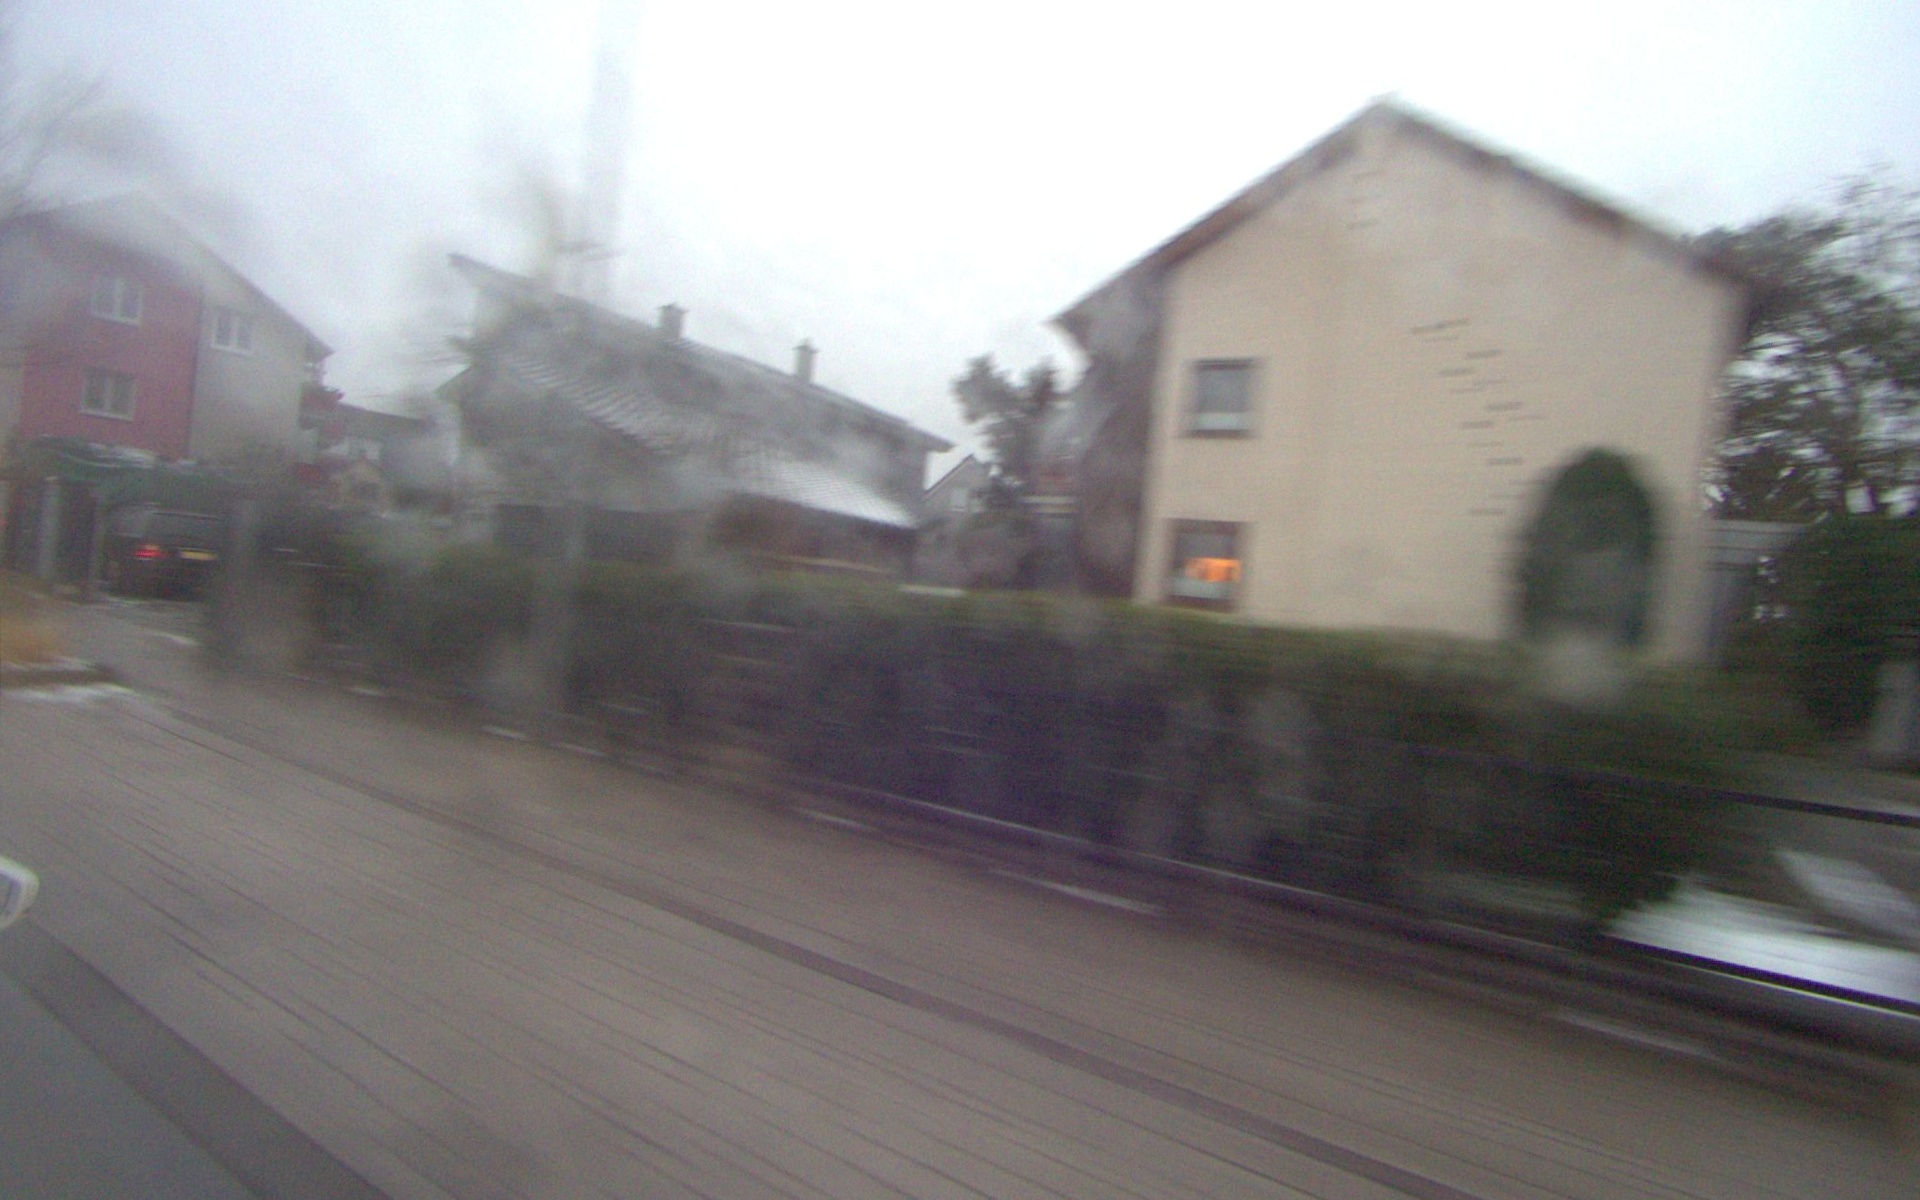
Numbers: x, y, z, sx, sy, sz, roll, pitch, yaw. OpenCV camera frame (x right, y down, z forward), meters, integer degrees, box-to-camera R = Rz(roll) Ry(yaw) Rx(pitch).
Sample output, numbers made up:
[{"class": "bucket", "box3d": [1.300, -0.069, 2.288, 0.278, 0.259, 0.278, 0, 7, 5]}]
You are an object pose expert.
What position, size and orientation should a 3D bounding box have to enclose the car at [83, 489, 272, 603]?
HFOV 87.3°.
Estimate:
[{"class": "car", "box3d": [-14.116, -1.014, 18.047, 4.277, 1.603, 1.965, 7, 0, 43]}]
